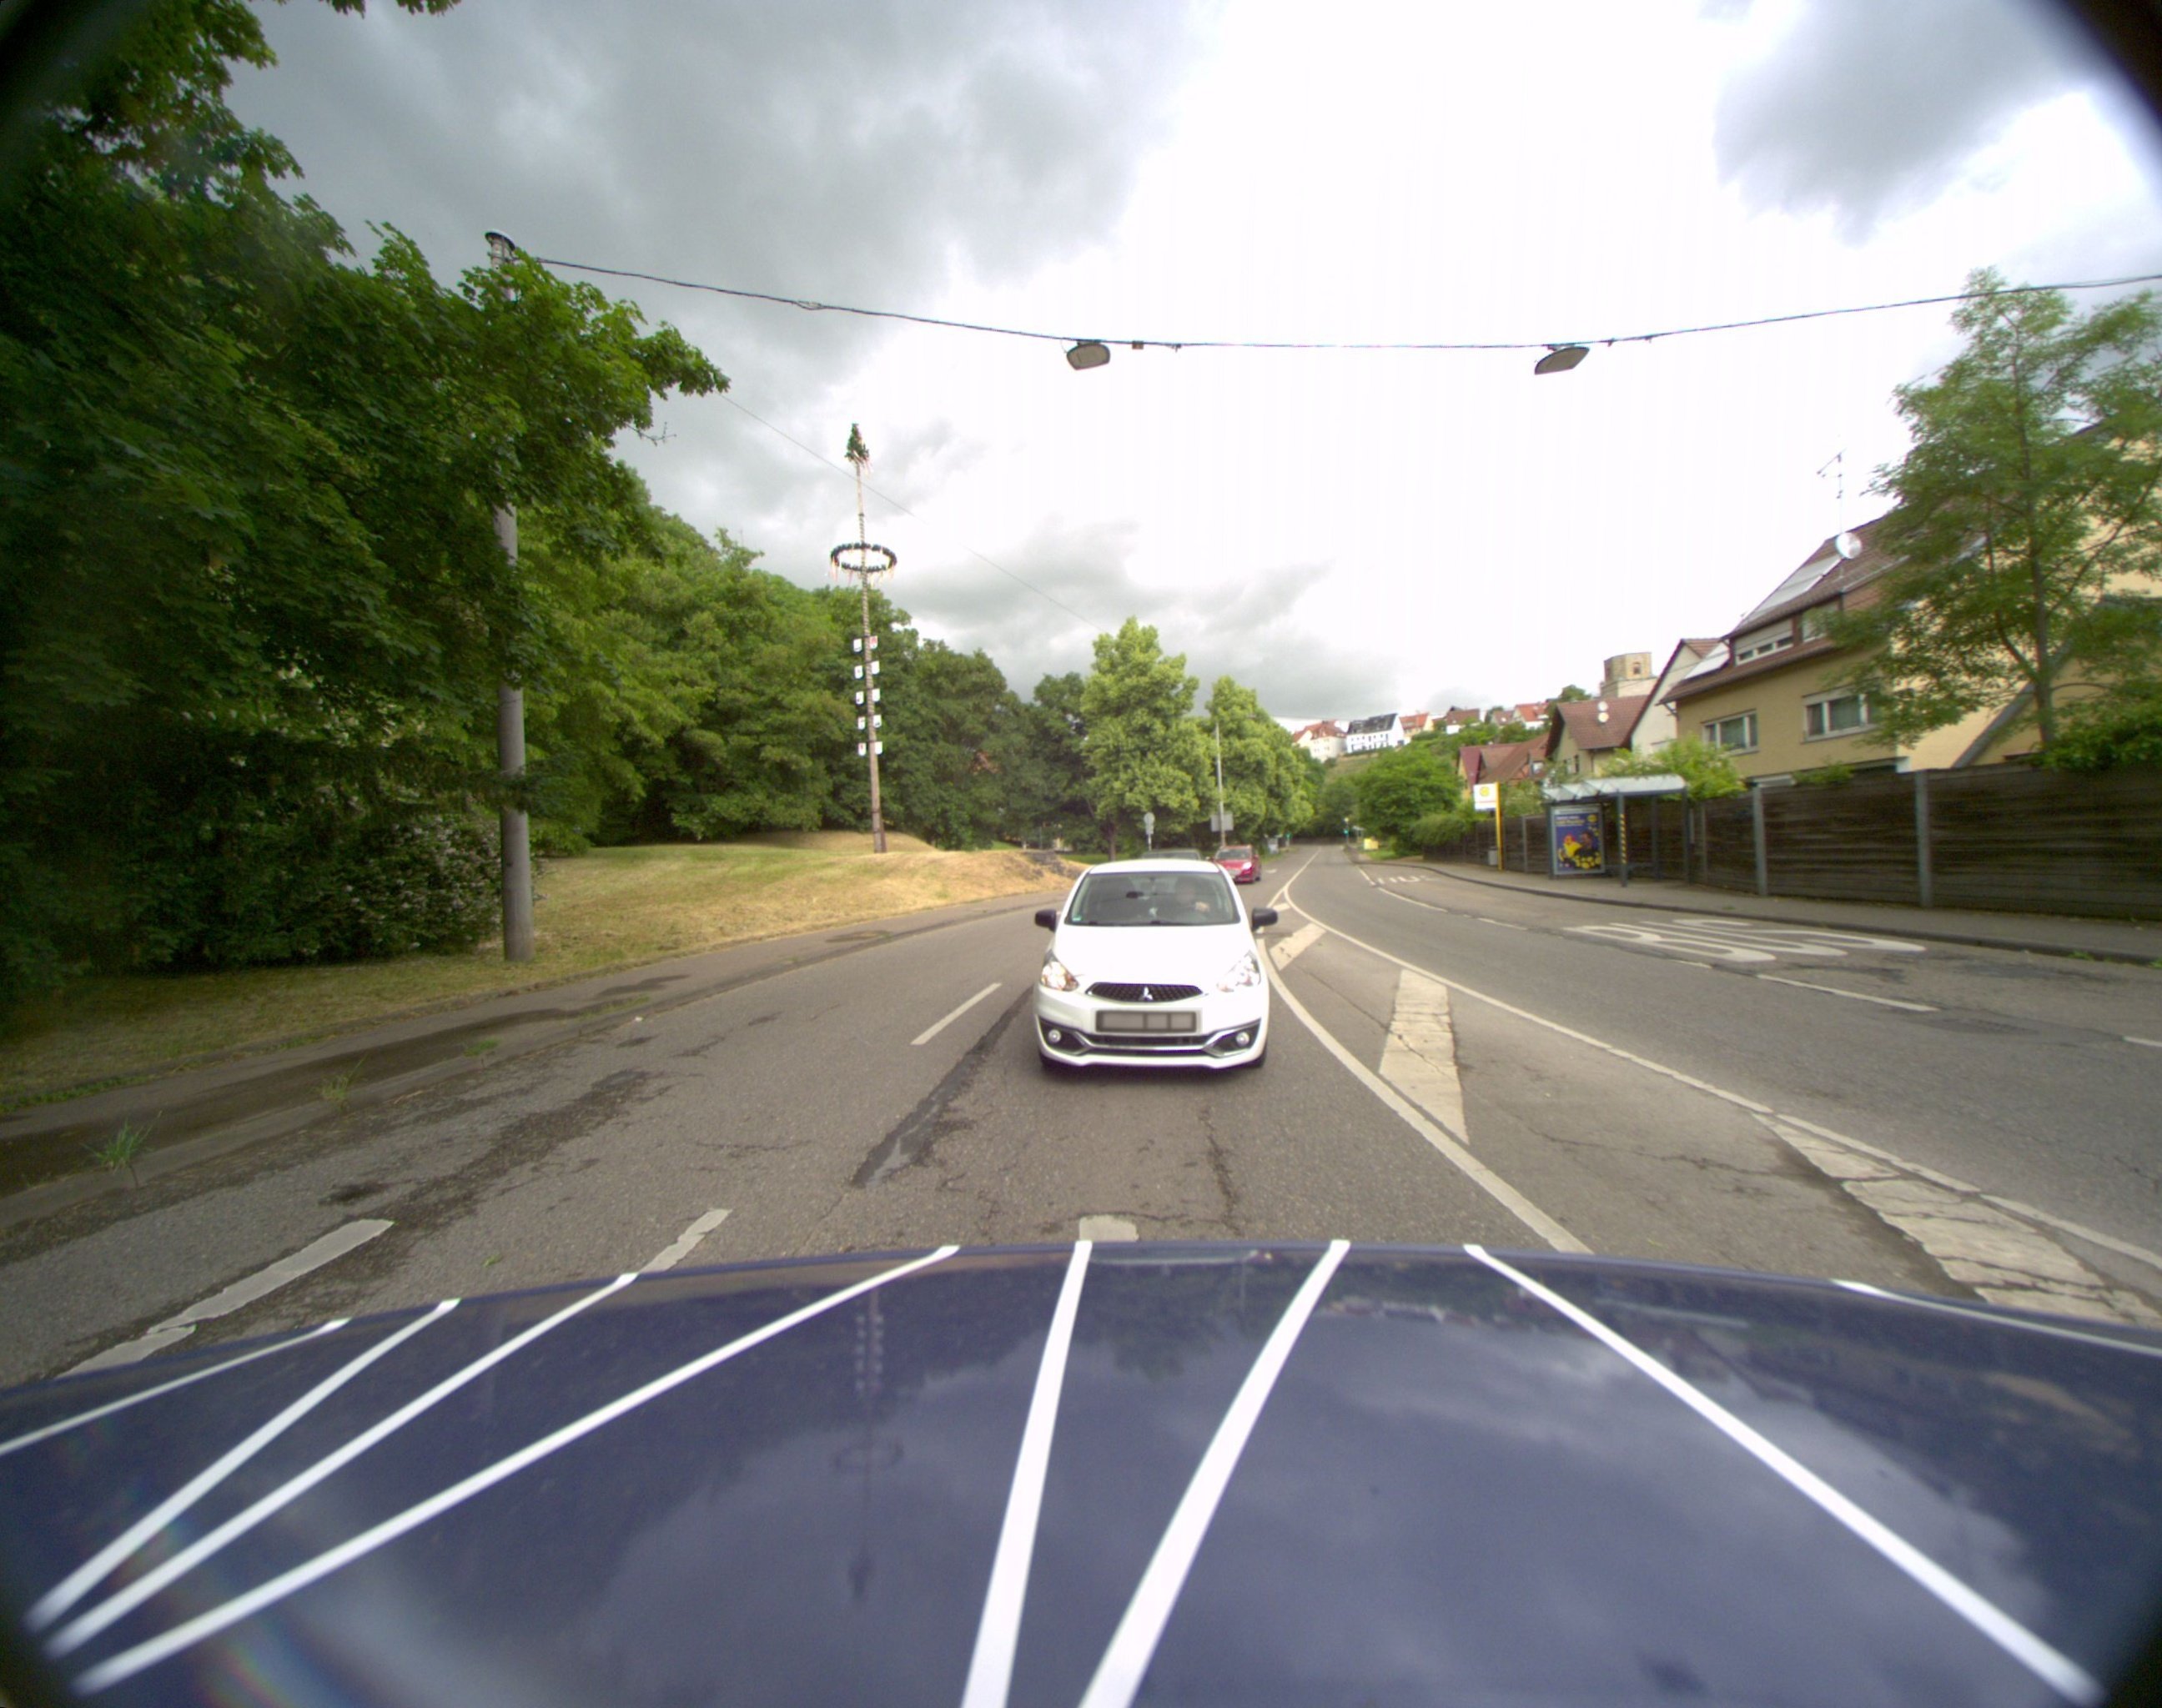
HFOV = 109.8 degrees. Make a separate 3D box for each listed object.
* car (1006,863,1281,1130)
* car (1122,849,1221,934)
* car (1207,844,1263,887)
[{"bbox_3d":[0.640,0.906,6.428,1.617,1.505,3.607,-2,1,9],"label":"car"},{"bbox_3d":[2.086,0.727,16.580,1.723,1.539,3.785,-2,1,13],"label":"car"},{"bbox_3d":[6.715,0.446,32.803,1.826,1.662,4.062,-2,1,18],"label":"car"}]
